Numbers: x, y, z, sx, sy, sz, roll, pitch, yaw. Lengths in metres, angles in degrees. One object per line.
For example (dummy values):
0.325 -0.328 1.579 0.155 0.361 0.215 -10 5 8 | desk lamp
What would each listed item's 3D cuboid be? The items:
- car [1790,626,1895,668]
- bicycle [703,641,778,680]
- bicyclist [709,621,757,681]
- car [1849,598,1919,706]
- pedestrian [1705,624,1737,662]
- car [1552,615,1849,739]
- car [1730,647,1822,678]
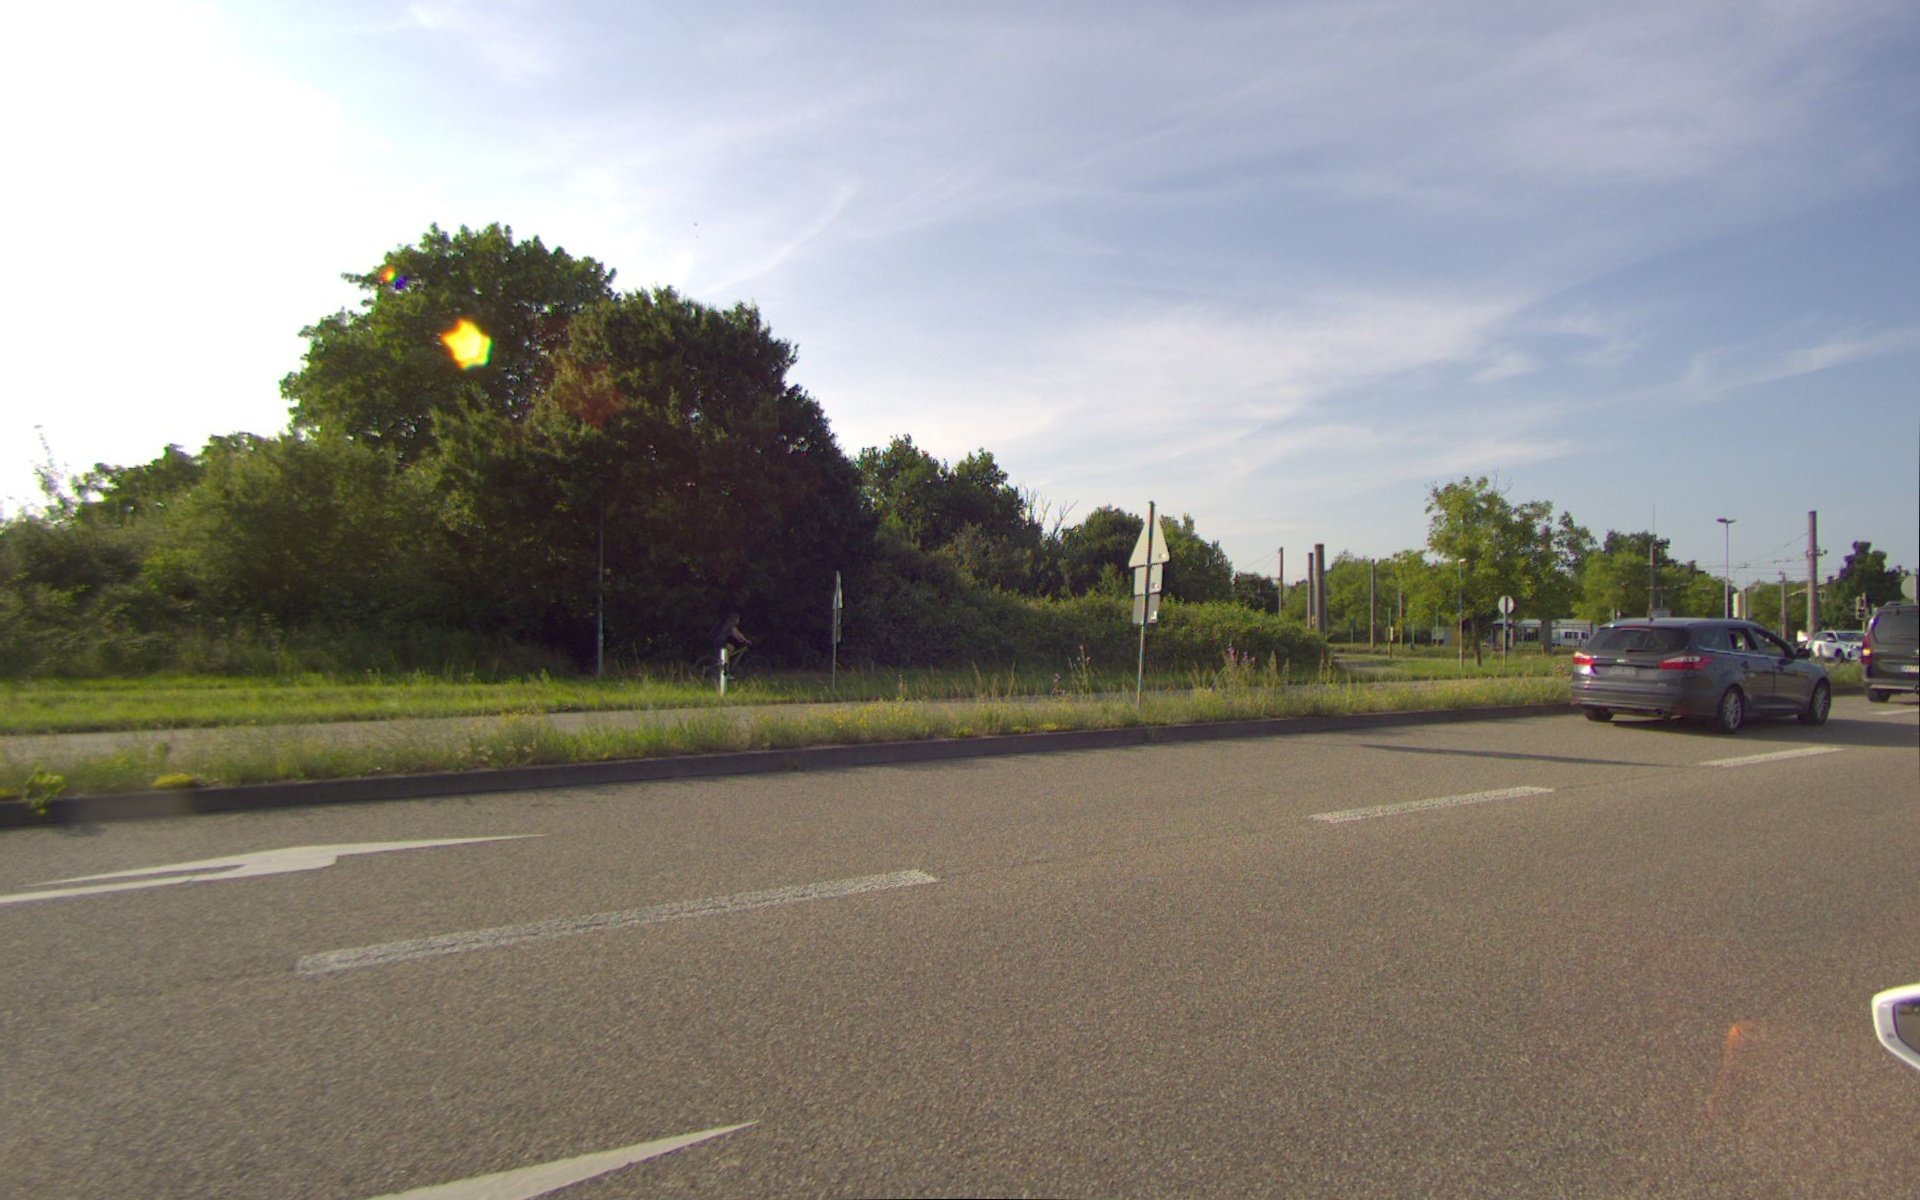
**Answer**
39.489 2.070 45.080 1.849 1.684 4.002 3 0 14 | car
-5.285 1.448 24.252 1.685 0.890 0.527 1 -1 -31 | bicycle
-5.458 1.207 24.138 1.035 1.408 0.464 1 -1 -31 | bicyclist
18.548 0.940 18.672 4.466 1.880 1.724 1 -1 -30 | car
36.924 2.084 48.725 1.057 1.728 0.909 3 0 -36 | pedestrian
10.389 0.979 14.016 4.466 1.475 1.724 1 -1 -30 | car
51.774 3.937 63.792 1.901 1.739 4.247 1 -1 -39 | car
